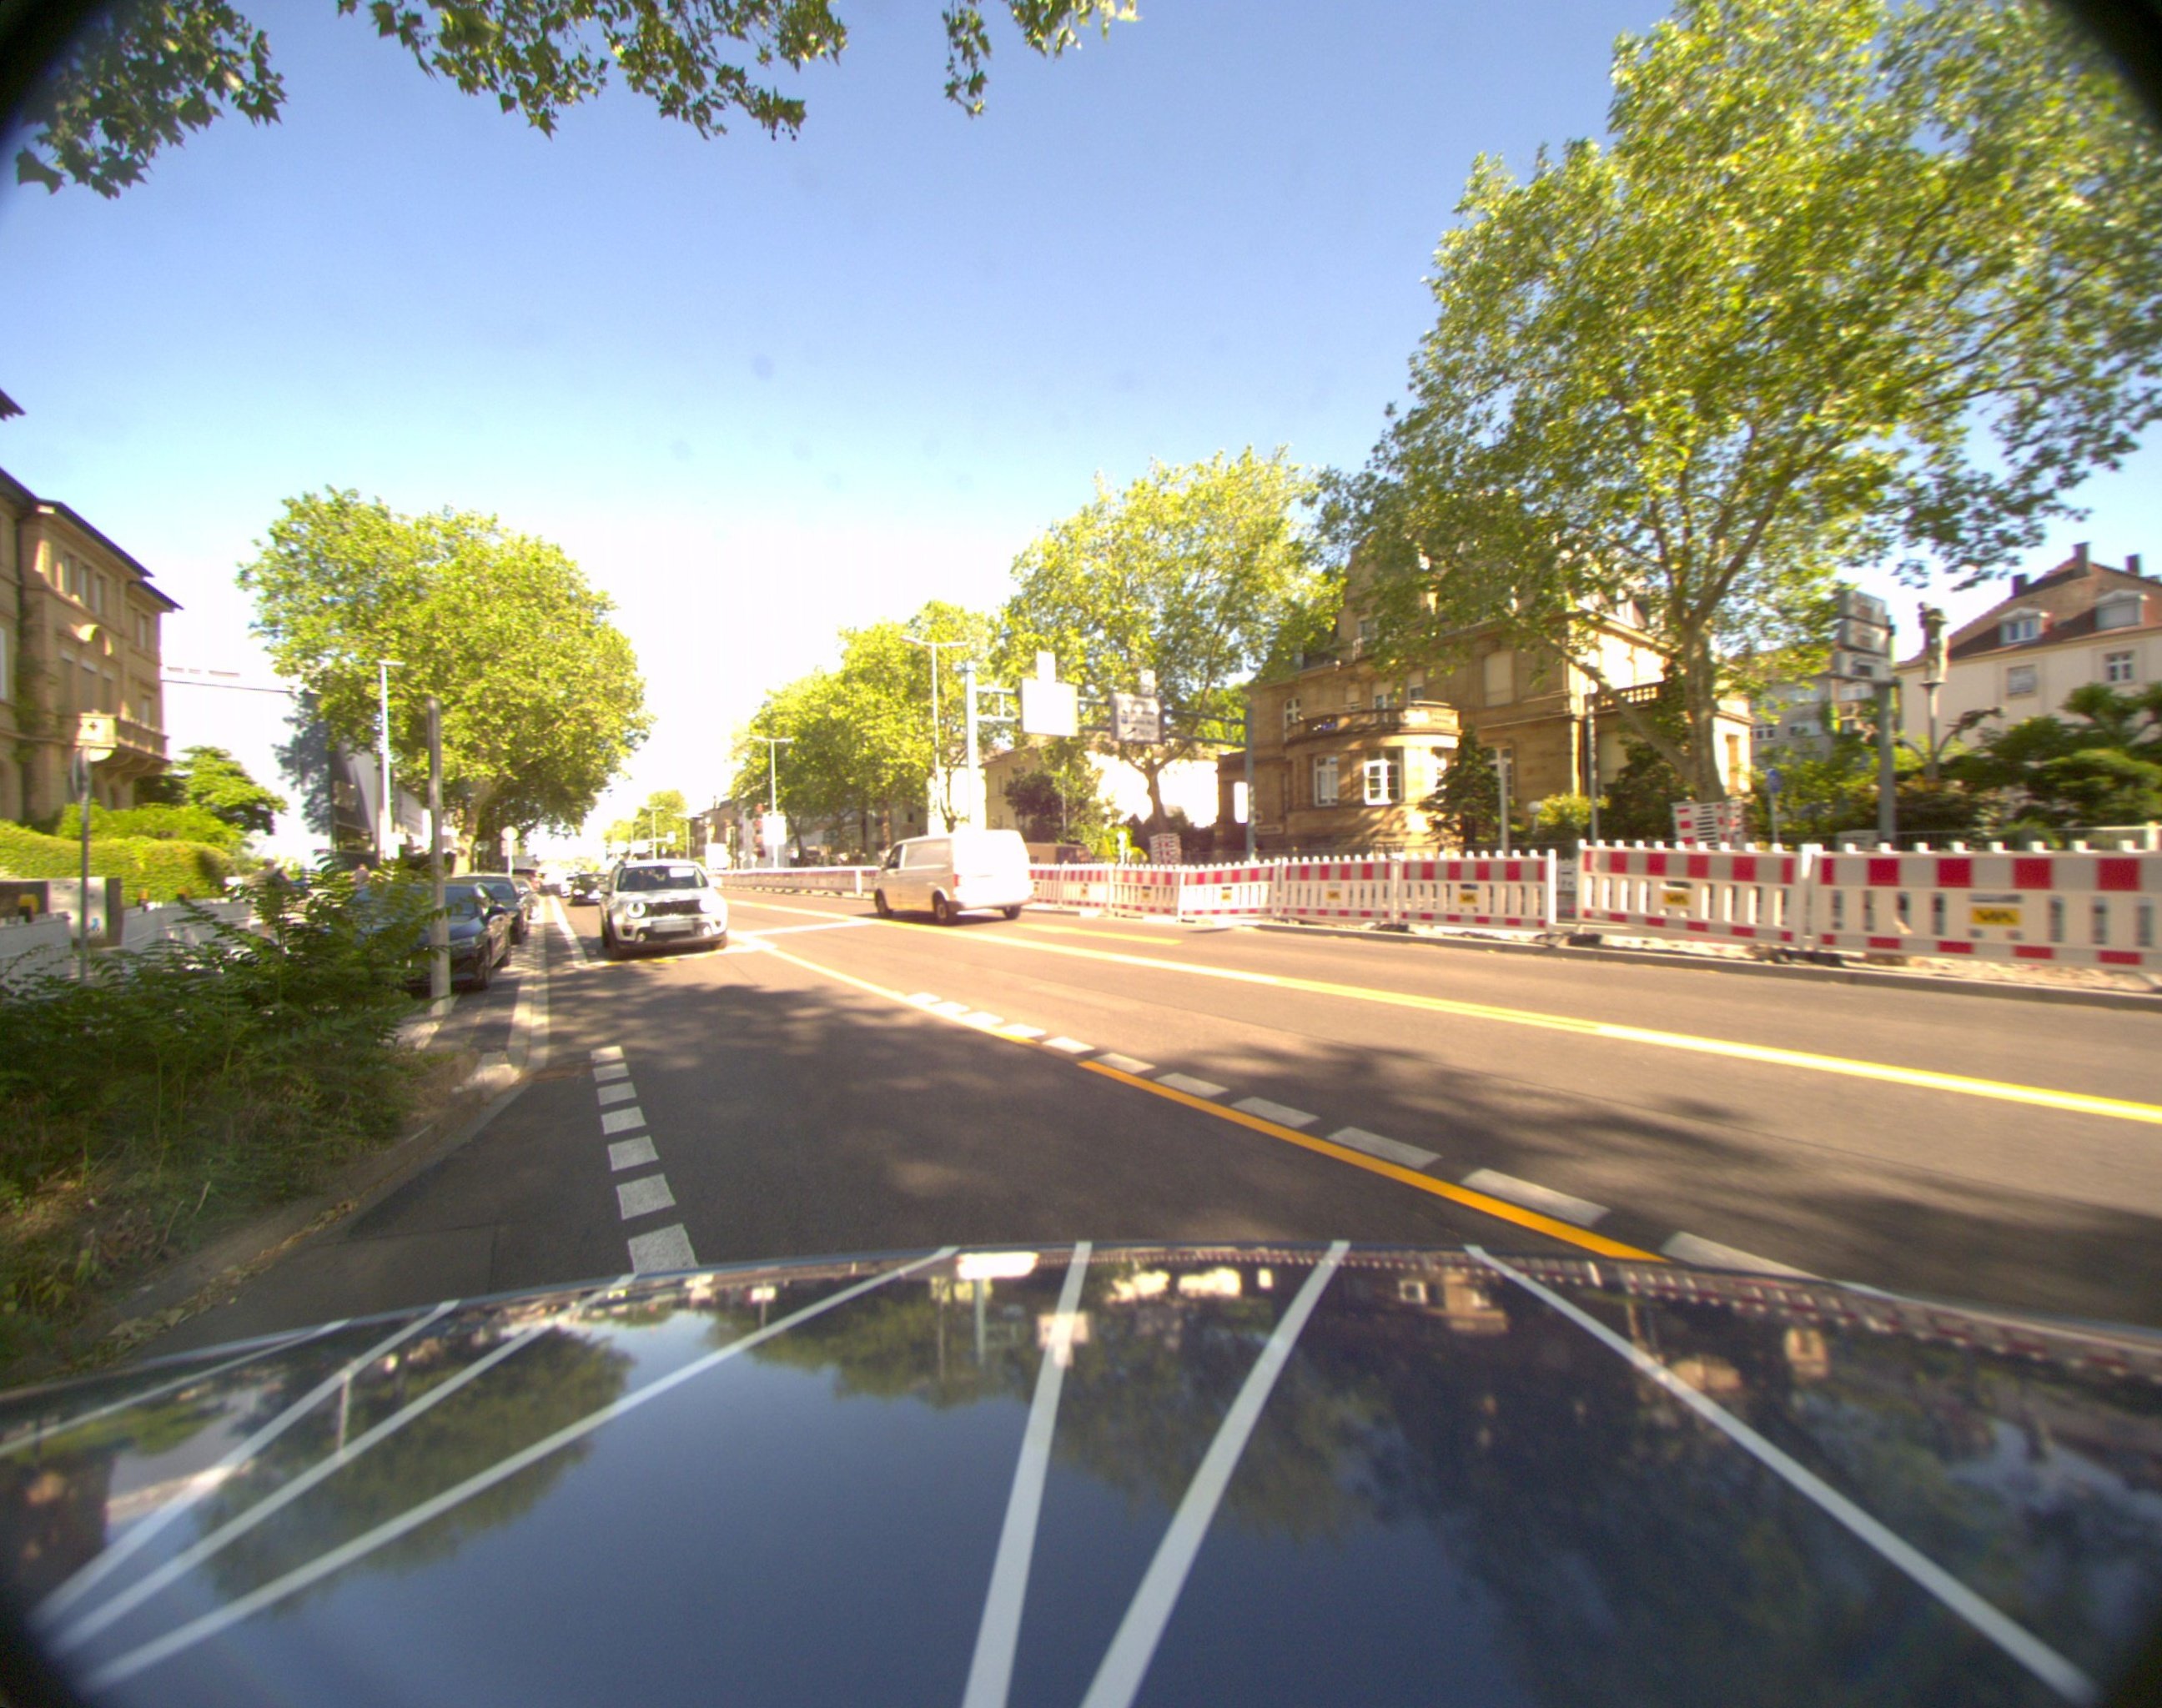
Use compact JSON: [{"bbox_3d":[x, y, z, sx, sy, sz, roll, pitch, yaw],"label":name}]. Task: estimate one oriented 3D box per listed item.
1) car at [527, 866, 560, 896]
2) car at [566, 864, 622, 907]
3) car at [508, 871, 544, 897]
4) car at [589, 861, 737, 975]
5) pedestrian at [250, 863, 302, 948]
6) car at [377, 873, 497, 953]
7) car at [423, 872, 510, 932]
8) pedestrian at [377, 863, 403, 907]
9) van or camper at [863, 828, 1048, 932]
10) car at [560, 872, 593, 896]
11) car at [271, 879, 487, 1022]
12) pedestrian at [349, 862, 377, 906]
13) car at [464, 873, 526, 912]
[{"bbox_3d":[-37.414,1.816,52.934,1.758,1.954,4.495,-1,0,-35],"label":"car"},{"bbox_3d":[-22.335,1.381,34.751,1.873,1.716,4.495,-3,1,-35],"label":"car"},{"bbox_3d":[-34.404,1.817,47.173,1.678,1.508,3.987,-1,0,-35],"label":"car"},{"bbox_3d":[-7.988,1.041,14.289,1.873,1.716,4.495,-3,1,-35],"label":"car"},{"bbox_3d":[-18.084,1.135,17.083,0.668,1.838,0.692,-1,0,-35],"label":"pedestrian"},{"bbox_3d":[-13.909,1.182,16.611,1.628,1.477,4.046,1,-1,-35],"label":"car"},{"bbox_3d":[-16.810,1.234,20.928,1.628,1.477,3.724,1,-1,-35],"label":"car"},{"bbox_3d":[-28.927,1.287,31.817,0.700,1.785,0.713,-1,0,-35],"label":"pedestrian"},{"bbox_3d":[-3.118,0.527,17.750,2.003,2.002,5.314,-3,1,-36],"label":"van or camper"},{"bbox_3d":[-31.248,1.813,47.020,1.561,1.372,3.637,-1,0,-35],"label":"car"},{"bbox_3d":[-9.242,1.113,10.331,1.628,1.477,4.087,1,-1,-35],"label":"car"},{"bbox_3d":[-29.596,1.229,31.334,0.700,1.785,0.800,-1,0,-35],"label":"pedestrian"},{"bbox_3d":[-23.082,1.484,30.062,1.725,1.404,4.464,2,-2,-35],"label":"car"}]
